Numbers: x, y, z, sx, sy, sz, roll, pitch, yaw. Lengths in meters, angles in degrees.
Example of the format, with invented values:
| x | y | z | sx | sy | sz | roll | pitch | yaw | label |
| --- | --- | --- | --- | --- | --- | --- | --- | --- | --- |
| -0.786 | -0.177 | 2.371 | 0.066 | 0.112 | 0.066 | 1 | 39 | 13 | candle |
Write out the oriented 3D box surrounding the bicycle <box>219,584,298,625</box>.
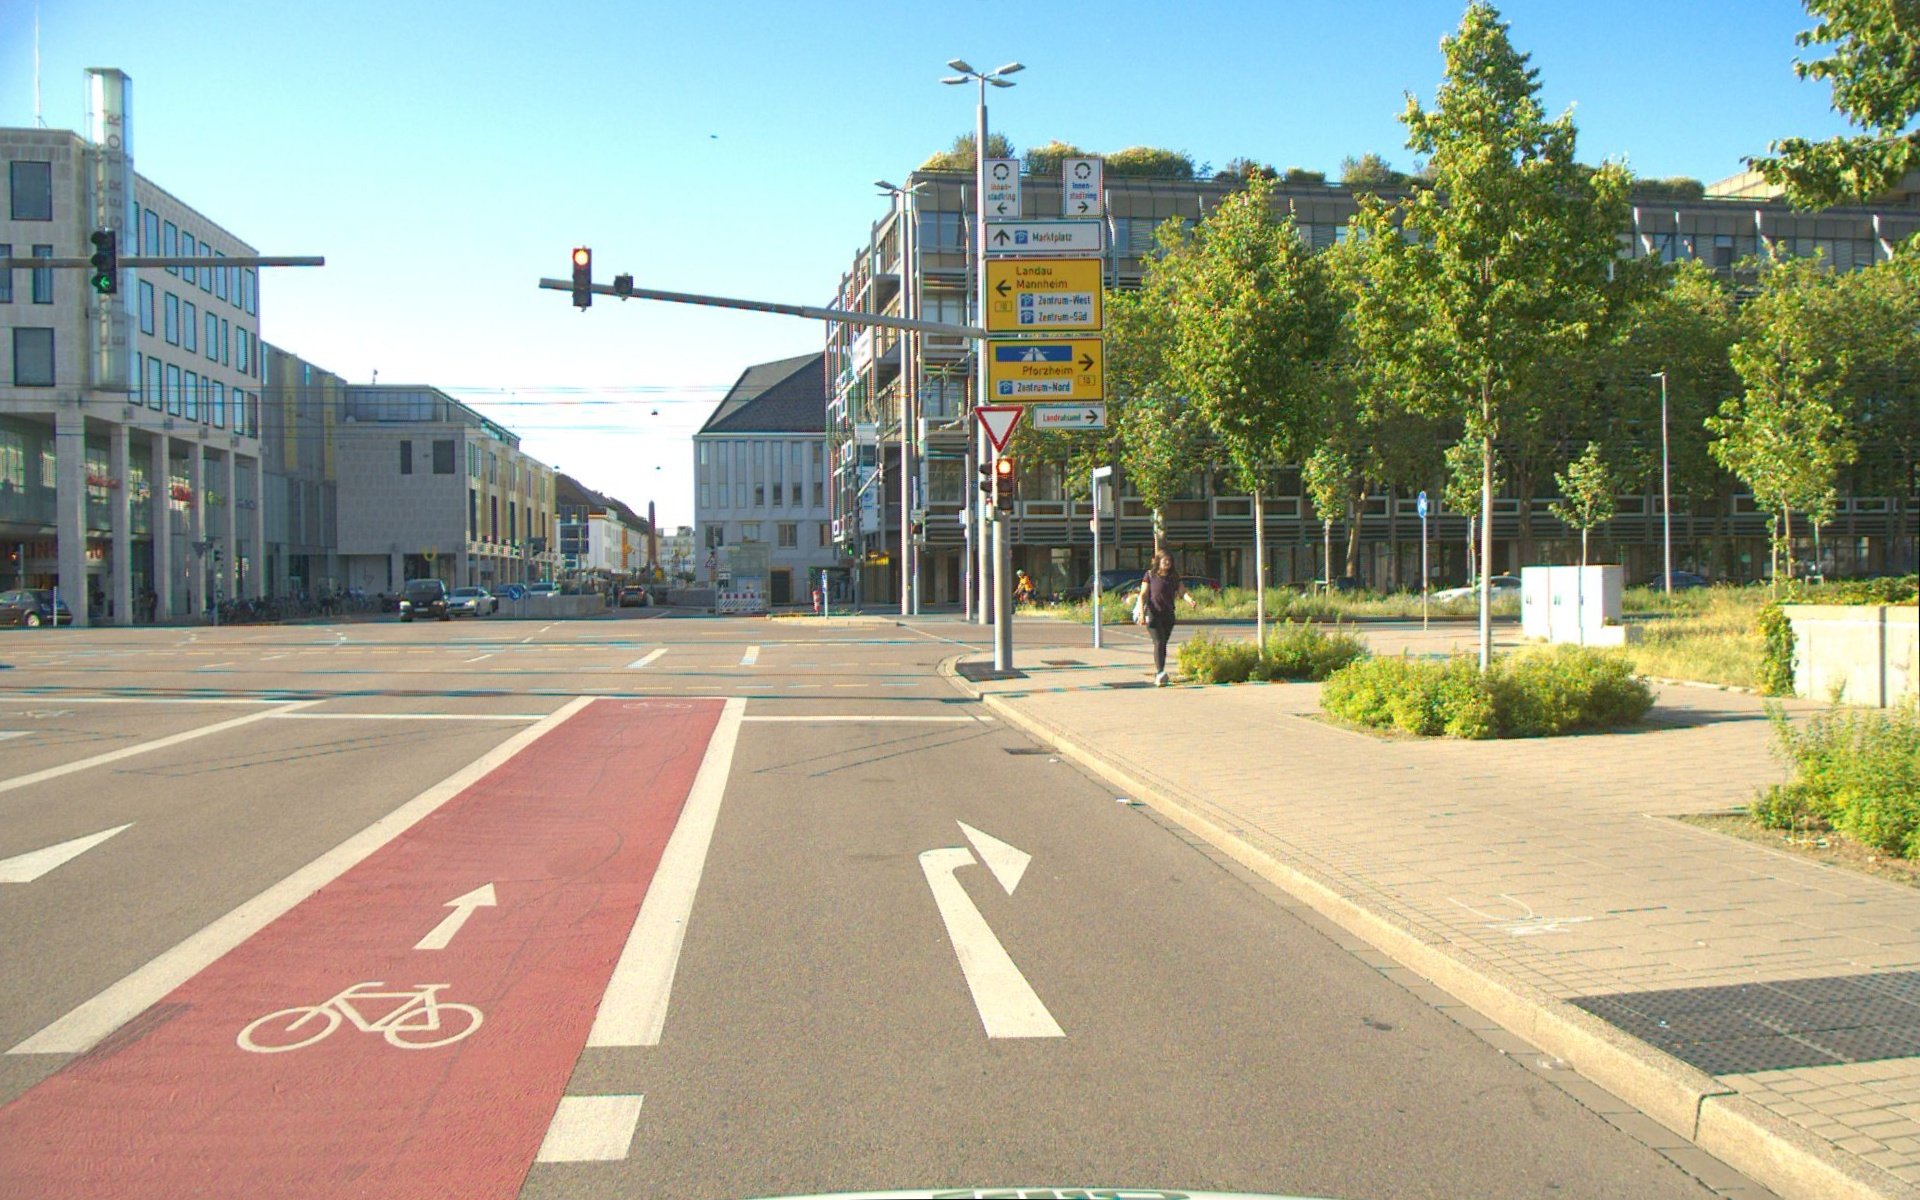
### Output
| x | y | z | sx | sy | sz | roll | pitch | yaw | label |
| --- | --- | --- | --- | --- | --- | --- | --- | --- | --- |
| -36.498 | 0.224 | 86.070 | 3.555 | 2.049 | 1.084 | -1 | 1 | -10 | bicycle |

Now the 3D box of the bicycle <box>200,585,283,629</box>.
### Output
| x | y | z | sx | sy | sz | roll | pitch | yaw | label |
| --- | --- | --- | --- | --- | --- | --- | --- | --- | --- |
| -35.492 | 0.342 | 81.752 | 3.555 | 2.049 | 1.084 | -1 | 1 | -10 | bicycle |

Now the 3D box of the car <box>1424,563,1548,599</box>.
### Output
| x | y | z | sx | sy | sz | roll | pitch | yaw | label |
| --- | --- | --- | --- | --- | --- | --- | --- | --- | --- |
| 21.867 | -0.819 | 68.848 | 4.546 | 1.380 | 1.996 | -1 | 2 | -10 | car |

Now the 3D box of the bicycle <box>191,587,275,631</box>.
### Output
| x | y | z | sx | sy | sz | roll | pitch | yaw | label |
| --- | --- | --- | --- | --- | --- | --- | --- | --- | --- |
| -35.315 | 0.416 | 80.428 | 3.559 | 2.049 | 1.083 | -1 | 1 | -14 | bicycle |

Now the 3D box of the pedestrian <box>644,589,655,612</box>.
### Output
| x | y | z | sx | sy | sz | roll | pitch | yaw | label |
| --- | --- | --- | --- | --- | --- | --- | --- | --- | --- |
| -22.969 | 0.028 | 122.323 | 0.701 | 1.697 | 0.985 | -1 | 1 | -10 | pedestrian |

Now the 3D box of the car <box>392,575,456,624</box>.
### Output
| x | y | z | sx | sy | sz | roll | pitch | yaw | label |
| --- | --- | --- | --- | --- | --- | --- | --- | --- | --- |
| -21.652 | -0.072 | 66.704 | 1.967 | 1.772 | 4.612 | -1 | 2 | -24 | car |

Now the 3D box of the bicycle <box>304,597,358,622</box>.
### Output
| x | y | z | sx | sy | sz | roll | pitch | yaw | label |
| --- | --- | --- | --- | --- | --- | --- | --- | --- | --- |
| -38.918 | 0.573 | 102.374 | 2.995 | 1.425 | 0.900 | -1 | 1 | -10 | bicycle |

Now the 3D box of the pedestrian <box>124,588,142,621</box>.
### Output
| x | y | z | sx | sy | sz | roll | pitch | yaw | label |
| --- | --- | --- | --- | --- | --- | --- | --- | --- | --- |
| -40.641 | 0.223 | 81.246 | 0.619 | 1.636 | 0.644 | -1 | 1 | -41 | pedestrian |

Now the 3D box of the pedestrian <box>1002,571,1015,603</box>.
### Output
| x | y | z | sx | sy | sz | roll | pitch | yaw | label |
| --- | --- | --- | --- | --- | --- | --- | --- | --- | --- |
| 2.385 | -0.654 | 80.874 | 0.610 | 1.545 | 0.654 | -1 | 1 | 3 | pedestrian |

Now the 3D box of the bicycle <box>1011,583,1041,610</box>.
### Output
| x | y | z | sx | sy | sz | roll | pitch | yaw | label |
| --- | --- | --- | --- | --- | --- | --- | --- | --- | --- |
| 2.485 | -0.122 | 62.220 | 1.055 | 0.988 | 0.458 | -1 | 1 | -4 | bicycle |

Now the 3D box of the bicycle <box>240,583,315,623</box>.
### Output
| x | y | z | sx | sy | sz | roll | pitch | yaw | label |
| --- | --- | --- | --- | --- | --- | --- | --- | --- | --- |
| -36.836 | 0.164 | 89.286 | 3.555 | 2.049 | 0.900 | -1 | 1 | -10 | bicycle |

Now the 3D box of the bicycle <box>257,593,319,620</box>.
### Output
| x | y | z | sx | sy | sz | roll | pitch | yaw | label |
| --- | --- | --- | --- | --- | --- | --- | --- | --- | --- |
| -37.397 | 0.360 | 92.061 | 2.995 | 1.425 | 0.900 | -1 | 1 | -10 | bicycle |

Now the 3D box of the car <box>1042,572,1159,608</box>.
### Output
| x | y | z | sx | sy | sz | roll | pitch | yaw | label |
| --- | --- | --- | --- | --- | --- | --- | --- | --- | --- |
| 5.860 | -0.451 | 69.268 | 4.546 | 1.380 | 1.996 | -1 | 2 | -10 | car |

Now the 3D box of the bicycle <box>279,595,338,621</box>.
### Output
| x | y | z | sx | sy | sz | roll | pitch | yaw | label |
| --- | --- | --- | --- | --- | --- | --- | --- | --- | --- |
| -37.973 | 0.478 | 96.446 | 2.995 | 1.425 | 0.900 | -1 | 1 | -10 | bicycle |

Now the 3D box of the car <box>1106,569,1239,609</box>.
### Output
| x | y | z | sx | sy | sz | roll | pitch | yaw | label |
| --- | --- | --- | --- | --- | --- | --- | --- | --- | --- |
| 7.914 | -0.419 | 61.810 | 4.546 | 1.380 | 1.996 | -1 | 2 | -10 | car |

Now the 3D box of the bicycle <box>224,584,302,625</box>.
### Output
| x | y | z | sx | sy | sz | roll | pitch | yaw | label |
| --- | --- | --- | --- | --- | --- | --- | --- | --- | --- |
| -36.732 | 0.224 | 87.198 | 3.555 | 2.049 | 1.084 | -1 | 1 | -10 | bicycle |

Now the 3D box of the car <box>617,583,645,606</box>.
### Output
| x | y | z | sx | sy | sz | roll | pitch | yaw | label |
| --- | --- | --- | --- | --- | --- | --- | --- | --- | --- |
| -24.115 | -0.431 | 121.131 | 1.958 | 1.579 | 3.988 | -1 | 1 | -12 | car |

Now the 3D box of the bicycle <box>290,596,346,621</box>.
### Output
| x | y | z | sx | sy | sz | roll | pitch | yaw | label |
| --- | --- | --- | --- | --- | --- | --- | --- | --- | --- |
| -38.153 | 0.500 | 98.323 | 2.995 | 1.425 | 0.900 | -1 | 1 | -10 | bicycle |

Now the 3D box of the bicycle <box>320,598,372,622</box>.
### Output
| x | y | z | sx | sy | sz | roll | pitch | yaw | label |
| --- | --- | --- | --- | --- | --- | --- | --- | --- | --- |
| -39.506 | 0.639 | 106.464 | 2.995 | 1.425 | 0.900 | -1 | 1 | -10 | bicycle |

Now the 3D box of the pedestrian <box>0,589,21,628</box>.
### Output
| x | y | z | sx | sy | sz | roll | pitch | yaw | label |
| --- | --- | --- | --- | --- | --- | --- | --- | --- | --- |
| -39.785 | 0.354 | 69.245 | 0.611 | 1.636 | 0.652 | -1 | 1 | -7 | pedestrian |

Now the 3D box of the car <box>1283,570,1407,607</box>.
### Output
| x | y | z | sx | sy | sz | roll | pitch | yaw | label |
| --- | --- | --- | --- | --- | --- | --- | --- | --- | --- |
| 15.800 | -0.497 | 67.975 | 4.546 | 1.380 | 1.996 | -1 | 2 | -10 | car |

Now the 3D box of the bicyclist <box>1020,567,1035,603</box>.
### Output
| x | y | z | sx | sy | sz | roll | pitch | yaw | label |
| --- | --- | --- | --- | --- | --- | --- | --- | --- | --- |
| 2.530 | -0.567 | 62.223 | 0.498 | 1.361 | 0.452 | -1 | 1 | -3 | bicyclist |

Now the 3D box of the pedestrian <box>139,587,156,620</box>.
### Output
| x | y | z | sx | sy | sz | roll | pitch | yaw | label |
| --- | --- | --- | --- | --- | --- | --- | --- | --- | --- |
| -40.323 | 0.155 | 82.095 | 0.619 | 1.636 | 0.644 | -1 | 1 | -41 | pedestrian |

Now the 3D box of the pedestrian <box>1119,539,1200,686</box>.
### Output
| x | y | z | sx | sy | sz | roll | pitch | yaw | label |
| --- | --- | --- | --- | --- | --- | --- | --- | --- | --- |
| 2.515 | 0.151 | 20.786 | 0.804 | 1.778 | 1.042 | -2 | 0 | 16 | pedestrian |

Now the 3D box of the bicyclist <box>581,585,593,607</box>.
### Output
| x | y | z | sx | sy | sz | roll | pitch | yaw | label |
| --- | --- | --- | --- | --- | --- | --- | --- | --- | --- |
| -25.952 | -0.264 | 114.960 | 0.732 | 1.486 | 0.765 | -1 | 1 | -8 | bicyclist |

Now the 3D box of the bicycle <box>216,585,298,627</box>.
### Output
| x | y | z | sx | sy | sz | roll | pitch | yaw | label |
| --- | --- | --- | --- | --- | --- | --- | --- | --- | --- |
| -35.353 | 0.295 | 83.233 | 3.555 | 2.049 | 1.084 | -1 | 1 | -10 | bicycle |

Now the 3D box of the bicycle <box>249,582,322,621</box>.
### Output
| x | y | z | sx | sy | sz | roll | pitch | yaw | label |
| --- | --- | --- | --- | --- | --- | --- | --- | --- | --- |
| -37.154 | 0.078 | 91.103 | 3.555 | 2.049 | 0.900 | -1 | 1 | -10 | bicycle |

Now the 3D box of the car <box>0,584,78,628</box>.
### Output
| x | y | z | sx | sy | sz | roll | pitch | yaw | label |
| --- | --- | --- | --- | --- | --- | --- | --- | --- | --- |
| -35.201 | 0.224 | 61.926 | 3.698 | 1.591 | 1.782 | 0 | 1 | 19 | car |

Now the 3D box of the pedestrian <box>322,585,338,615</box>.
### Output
| x | y | z | sx | sy | sz | roll | pitch | yaw | label |
| --- | --- | --- | --- | --- | --- | --- | --- | --- | --- |
| -35.146 | 0.009 | 92.270 | 0.735 | 1.636 | 0.618 | -1 | 1 | -33 | pedestrian |

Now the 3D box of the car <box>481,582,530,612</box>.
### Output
| x | y | z | sx | sy | sz | roll | pitch | yaw | label |
| --- | --- | --- | --- | --- | --- | --- | --- | --- | --- |
| -25.099 | -0.198 | 91.469 | 1.955 | 1.556 | 4.031 | -1 | 1 | -6 | car |

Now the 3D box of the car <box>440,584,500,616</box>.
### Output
| x | y | z | sx | sy | sz | roll | pitch | yaw | label |
| --- | --- | --- | --- | --- | --- | --- | --- | --- | --- |
| -24.101 | -0.042 | 81.493 | 1.955 | 1.379 | 4.642 | -1 | 2 | -6 | car |

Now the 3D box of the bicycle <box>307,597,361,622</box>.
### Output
| x | y | z | sx | sy | sz | roll | pitch | yaw | label |
| --- | --- | --- | --- | --- | --- | --- | --- | --- | --- |
| -39.157 | 0.595 | 103.451 | 2.995 | 1.425 | 0.900 | -1 | 1 | -10 | bicycle |

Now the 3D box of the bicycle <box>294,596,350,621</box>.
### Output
| x | y | z | sx | sy | sz | roll | pitch | yaw | label |
| --- | --- | --- | --- | --- | --- | --- | --- | --- | --- |
| -38.460 | 0.532 | 99.710 | 2.995 | 1.425 | 0.900 | -1 | 1 | -10 | bicycle |

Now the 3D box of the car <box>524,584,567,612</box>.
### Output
| x | y | z | sx | sy | sz | roll | pitch | yaw | label |
| --- | --- | --- | --- | --- | --- | --- | --- | --- | --- |
| -25.919 | -0.155 | 103.624 | 1.955 | 1.651 | 4.233 | -1 | 1 | -6 | car |

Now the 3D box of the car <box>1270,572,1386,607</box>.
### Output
| x | y | z | sx | sy | sz | roll | pitch | yaw | label |
| --- | --- | --- | --- | --- | --- | --- | --- | --- | --- |
| 15.914 | -0.455 | 71.626 | 4.546 | 1.380 | 1.996 | -1 | 2 | -10 | car |
